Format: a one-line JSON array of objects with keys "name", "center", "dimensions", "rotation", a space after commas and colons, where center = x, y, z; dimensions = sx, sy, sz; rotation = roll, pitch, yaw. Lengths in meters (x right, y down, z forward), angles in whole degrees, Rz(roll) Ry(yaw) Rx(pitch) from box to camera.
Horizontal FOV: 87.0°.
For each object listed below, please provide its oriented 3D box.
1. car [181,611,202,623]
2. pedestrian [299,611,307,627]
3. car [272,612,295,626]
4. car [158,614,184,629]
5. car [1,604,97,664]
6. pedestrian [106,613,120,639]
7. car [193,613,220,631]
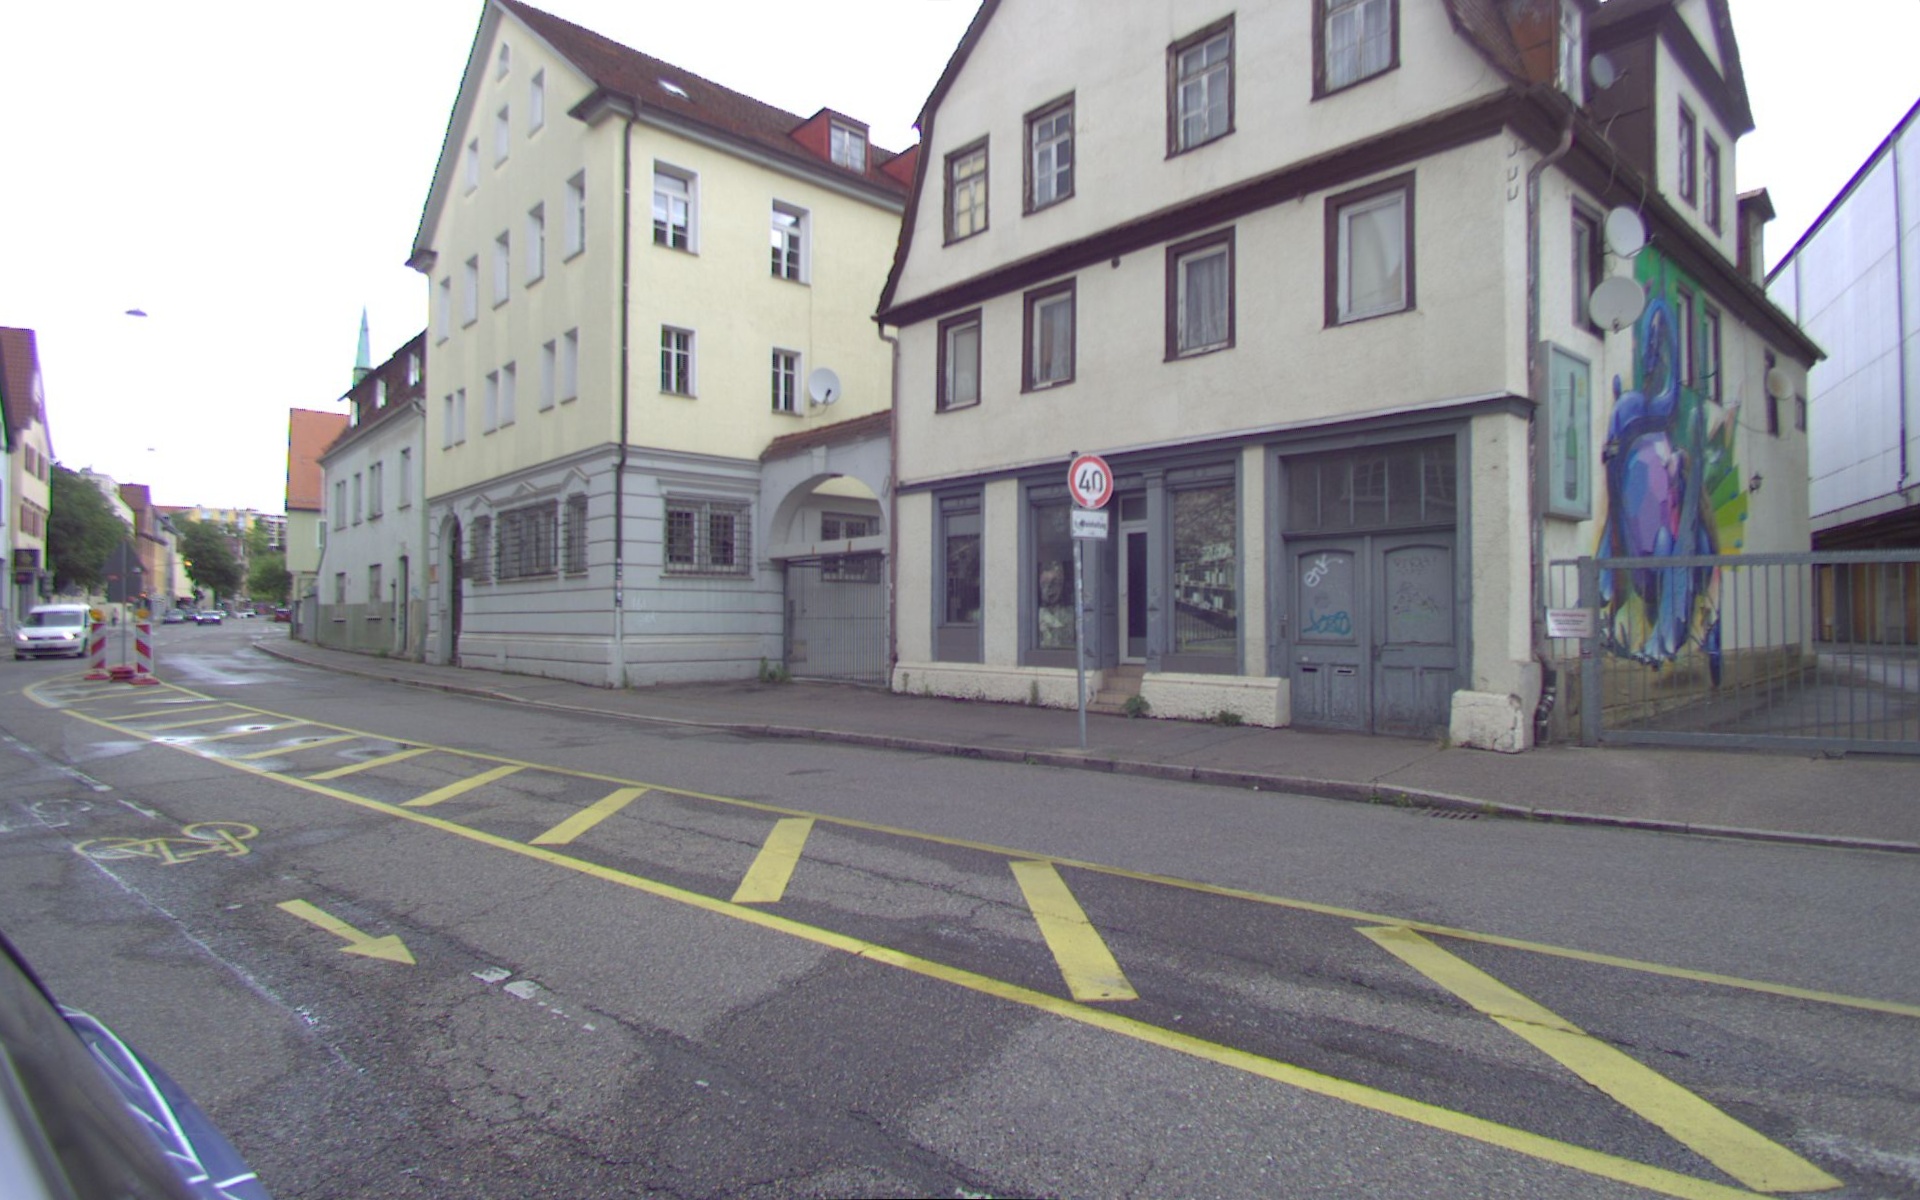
[{"name": "car", "center": [-96.594, 2.132, 127.213], "dimensions": [1.792, 1.399, 4.011], "rotation": [2, -2, -32]}, {"name": "pedestrian", "center": [-83.523, 2.396, 128.671], "dimensions": [0.823, 2.029, 0.847], "rotation": [1, -2, -36]}, {"name": "car", "center": [-85.881, 2.426, 128.433], "dimensions": [2.178, 1.690, 4.509], "rotation": [2, -2, -36]}, {"name": "car", "center": [-84.972, 2.267, 109.003], "dimensions": [2.001, 1.567, 4.010], "rotation": [2, -2, -35]}, {"name": "car", "center": [-29.943, 1.076, 33.371], "dimensions": [1.968, 1.800, 4.477], "rotation": [2, -1, -38]}, {"name": "pedestrian", "center": [-76.597, 2.336, 91.491], "dimensions": [0.888, 2.328, 0.822], "rotation": [1, -2, -36]}, {"name": "car", "center": [-74.450, 2.131, 99.991], "dimensions": [1.967, 1.691, 4.010], "rotation": [0, 0, -34]}]
